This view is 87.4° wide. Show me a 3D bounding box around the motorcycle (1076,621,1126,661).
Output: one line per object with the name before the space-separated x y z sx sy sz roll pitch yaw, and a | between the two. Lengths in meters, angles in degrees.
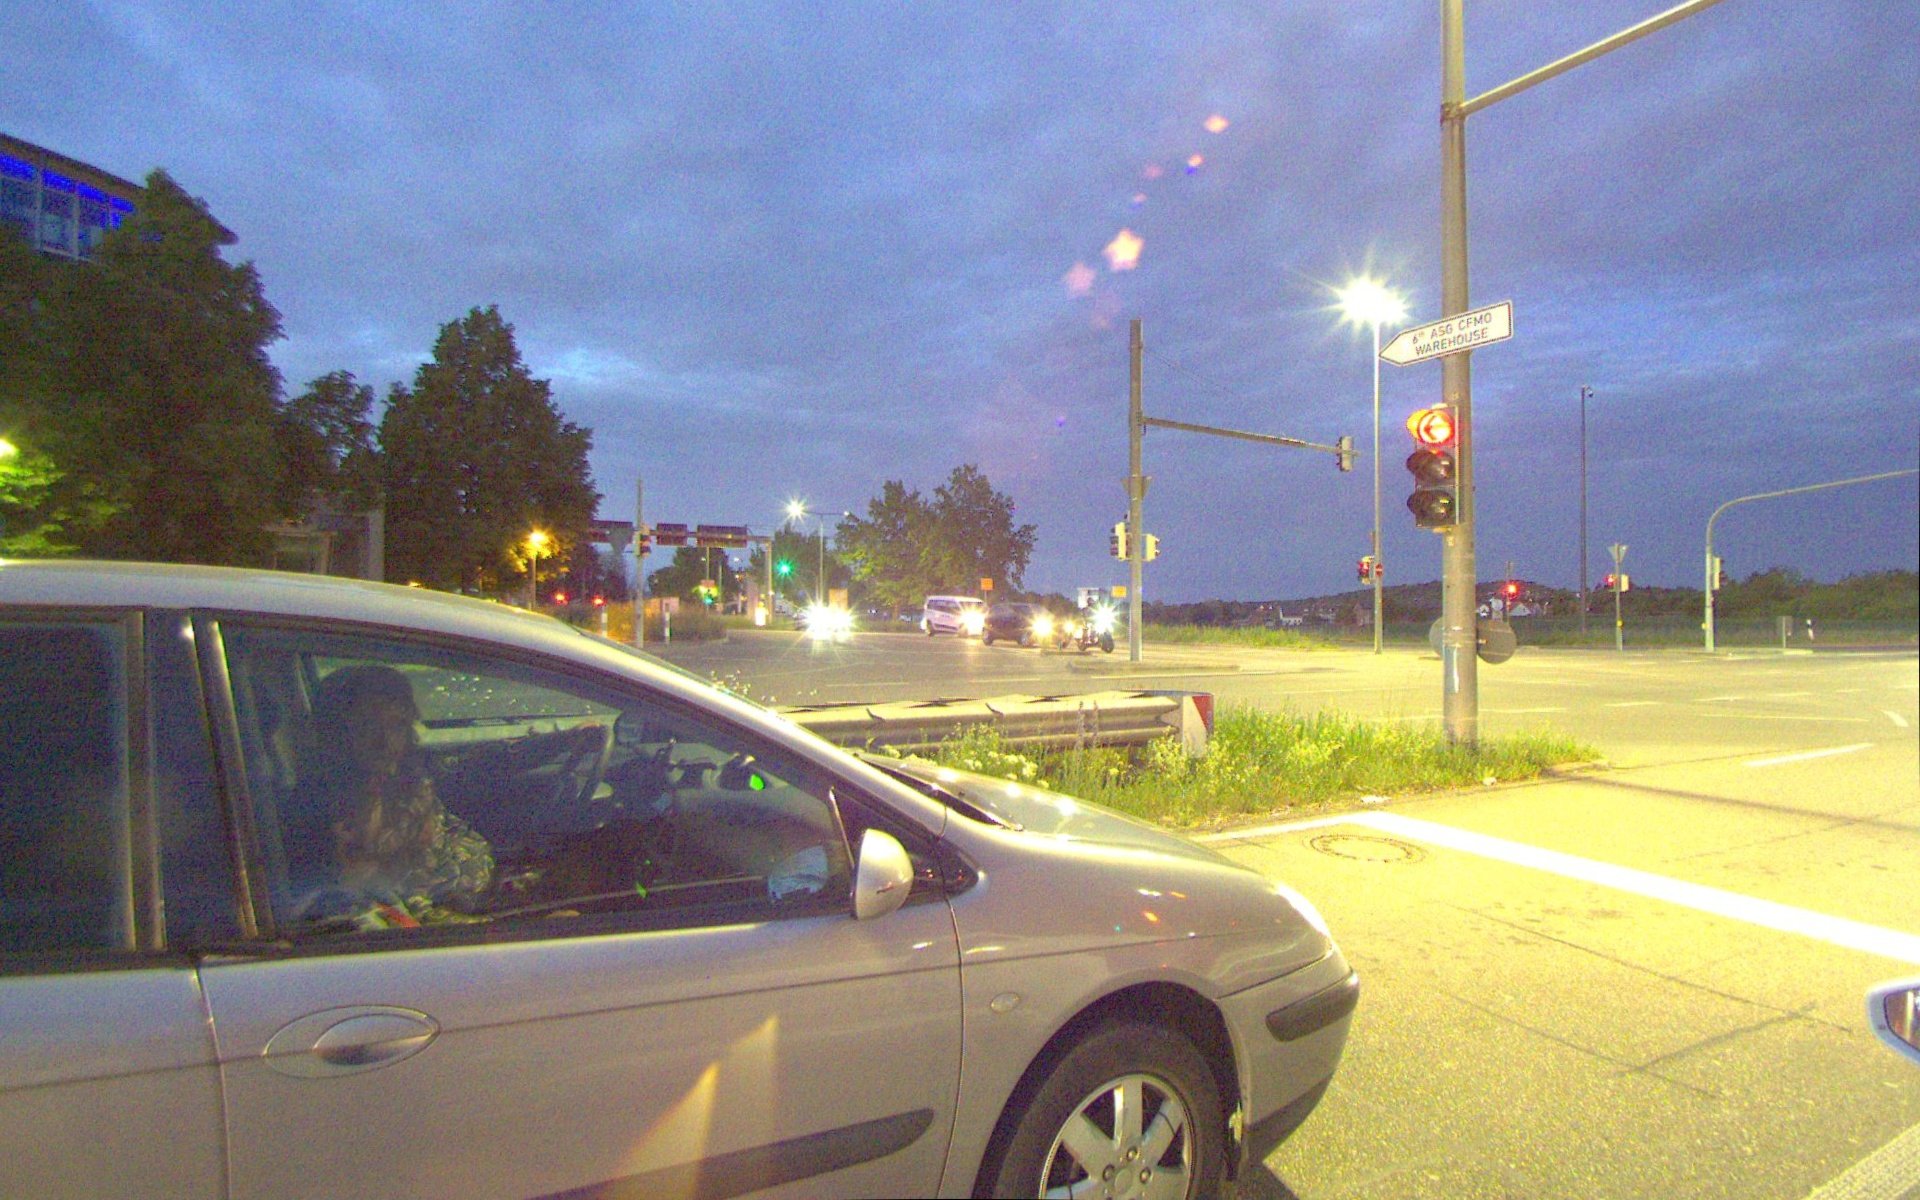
motorcycle | 4.350 1.268 31.201 0.664 1.179 1.797 1 0 -25

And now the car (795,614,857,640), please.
car | -7.891 1.549 58.853 1.856 1.416 4.798 2 -1 -31

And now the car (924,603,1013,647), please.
car | 0.314 1.074 44.753 1.827 1.838 4.737 1 -1 -29

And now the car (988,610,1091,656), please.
car | 2.666 1.106 34.569 1.754 1.467 3.751 1 -1 -30

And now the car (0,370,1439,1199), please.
car | -1.160 0.578 2.042 4.358 1.675 1.658 1 0 -30

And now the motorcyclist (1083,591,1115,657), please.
motorcyclist | 4.337 0.744 31.368 0.628 2.040 0.763 1 0 -25
